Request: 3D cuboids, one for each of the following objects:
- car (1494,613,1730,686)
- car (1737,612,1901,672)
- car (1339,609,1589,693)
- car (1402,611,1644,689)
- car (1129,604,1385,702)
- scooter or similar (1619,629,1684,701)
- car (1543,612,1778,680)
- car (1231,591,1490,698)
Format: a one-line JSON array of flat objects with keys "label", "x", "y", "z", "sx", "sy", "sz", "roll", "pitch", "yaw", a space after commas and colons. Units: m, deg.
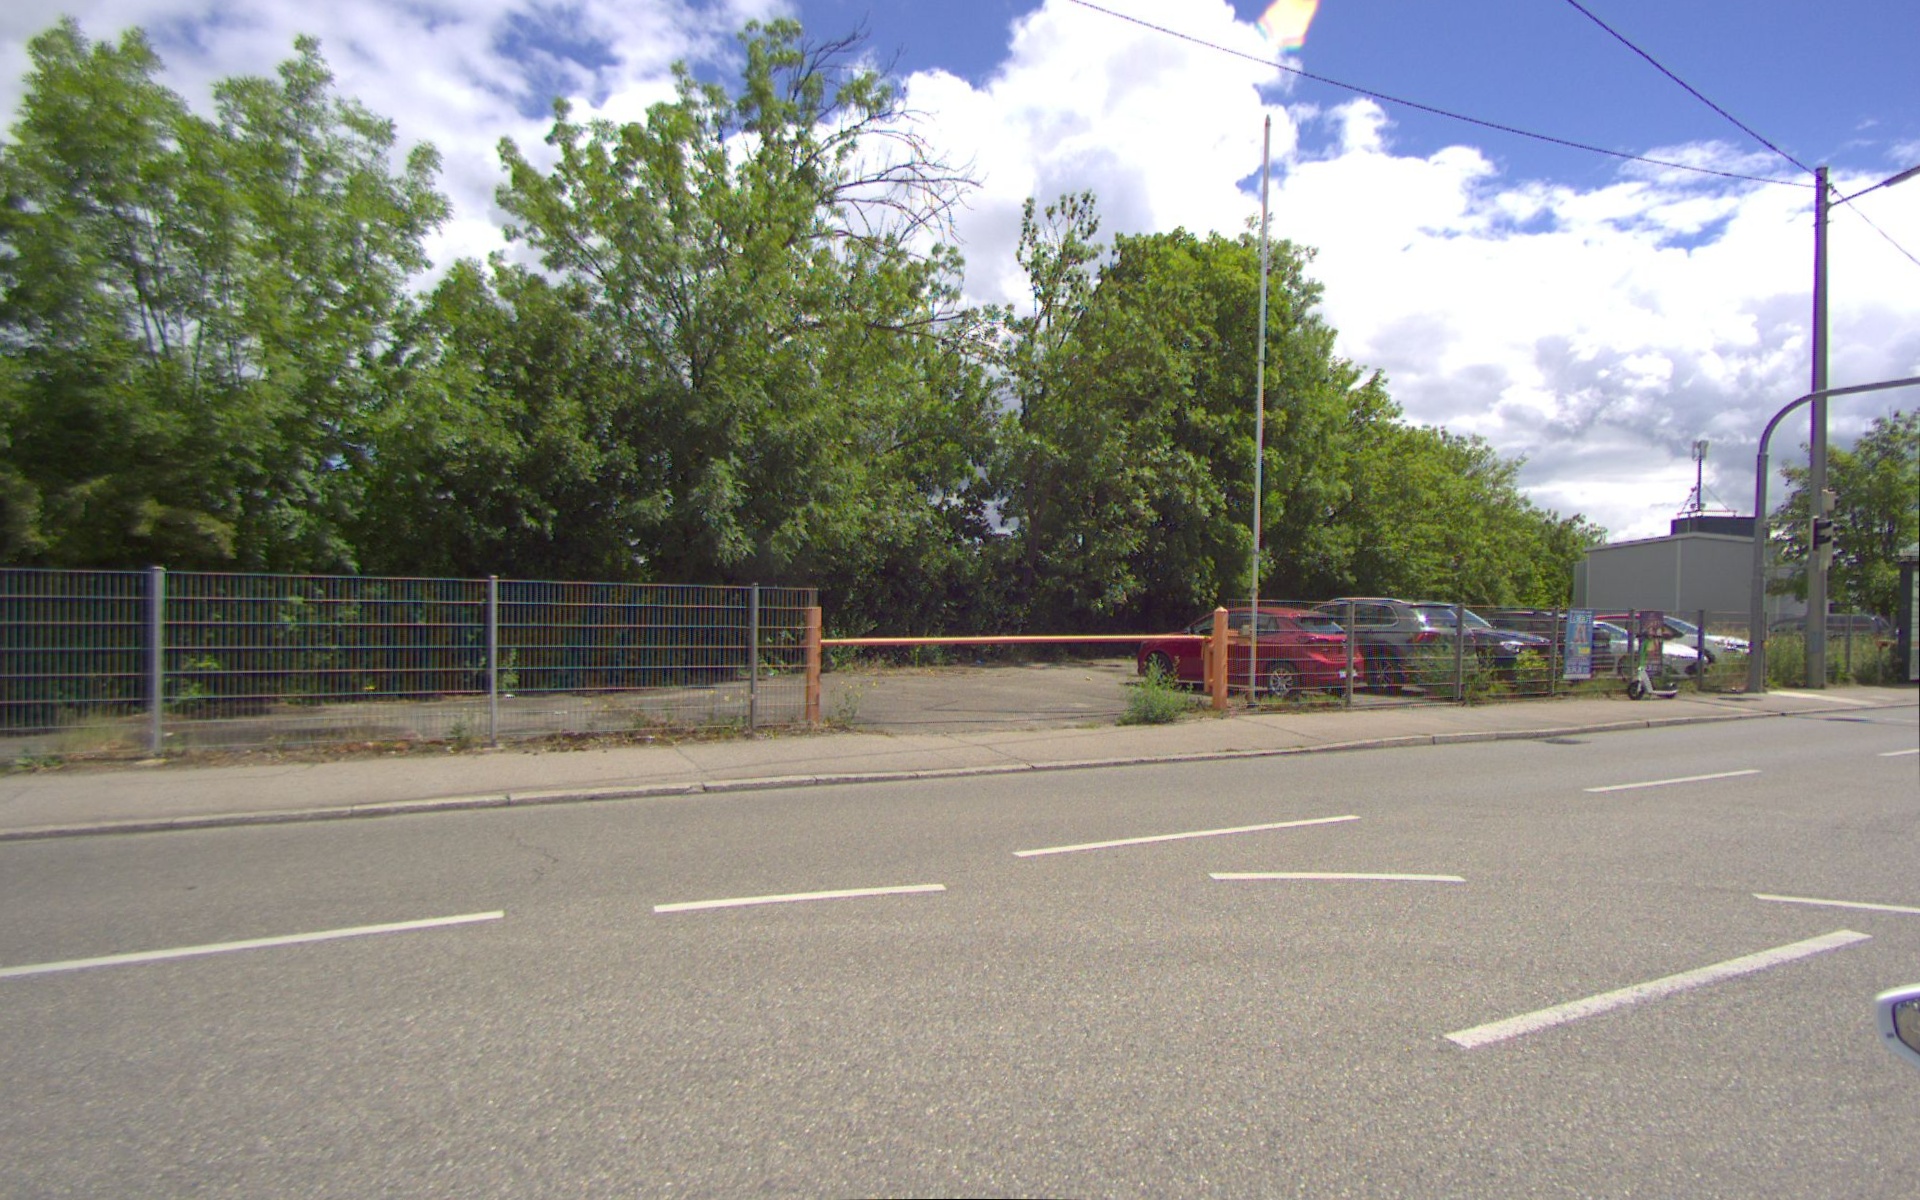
[{"label": "car", "x": 14.577, "y": 1.047, "z": 22.694, "sx": 1.893, "sy": 1.438, "sz": 4.084, "roll": 1, "pitch": 0, "yaw": -29}, {"label": "car", "x": 31.759, "y": 1.521, "z": 37.233, "sx": 2.122, "sy": 2.040, "sz": 4.245, "roll": 2, "pitch": -1, "yaw": -37}, {"label": "car", "x": 9.941, "y": 0.944, "z": 20.119, "sx": 1.977, "sy": 1.438, "sz": 4.082, "roll": 1, "pitch": 0, "yaw": -30}, {"label": "car", "x": 11.906, "y": 0.991, "z": 21.477, "sx": 1.978, "sy": 1.438, "sz": 4.079, "roll": 1, "pitch": 0, "yaw": -33}, {"label": "car", "x": 4.951, "y": 0.822, "z": 17.151, "sx": 1.886, "sy": 1.438, "sz": 3.822, "roll": 1, "pitch": -1, "yaw": -38}, {"label": "scooter or similar", "x": 12.367, "y": 1.157, "z": 17.962, "sx": 1.111, "sy": 1.227, "sz": 0.422, "roll": 1, "pitch": 2, "yaw": -26}, {"label": "car", "x": 16.967, "y": 1.068, "z": 24.575, "sx": 2.000, "sy": 1.438, "sz": 4.293, "roll": 1, "pitch": 0, "yaw": -28}, {"label": "car", "x": 7.278, "y": 0.744, "z": 18.616, "sx": 1.980, "sy": 1.757, "sz": 4.077, "roll": 1, "pitch": -1, "yaw": -34}]
